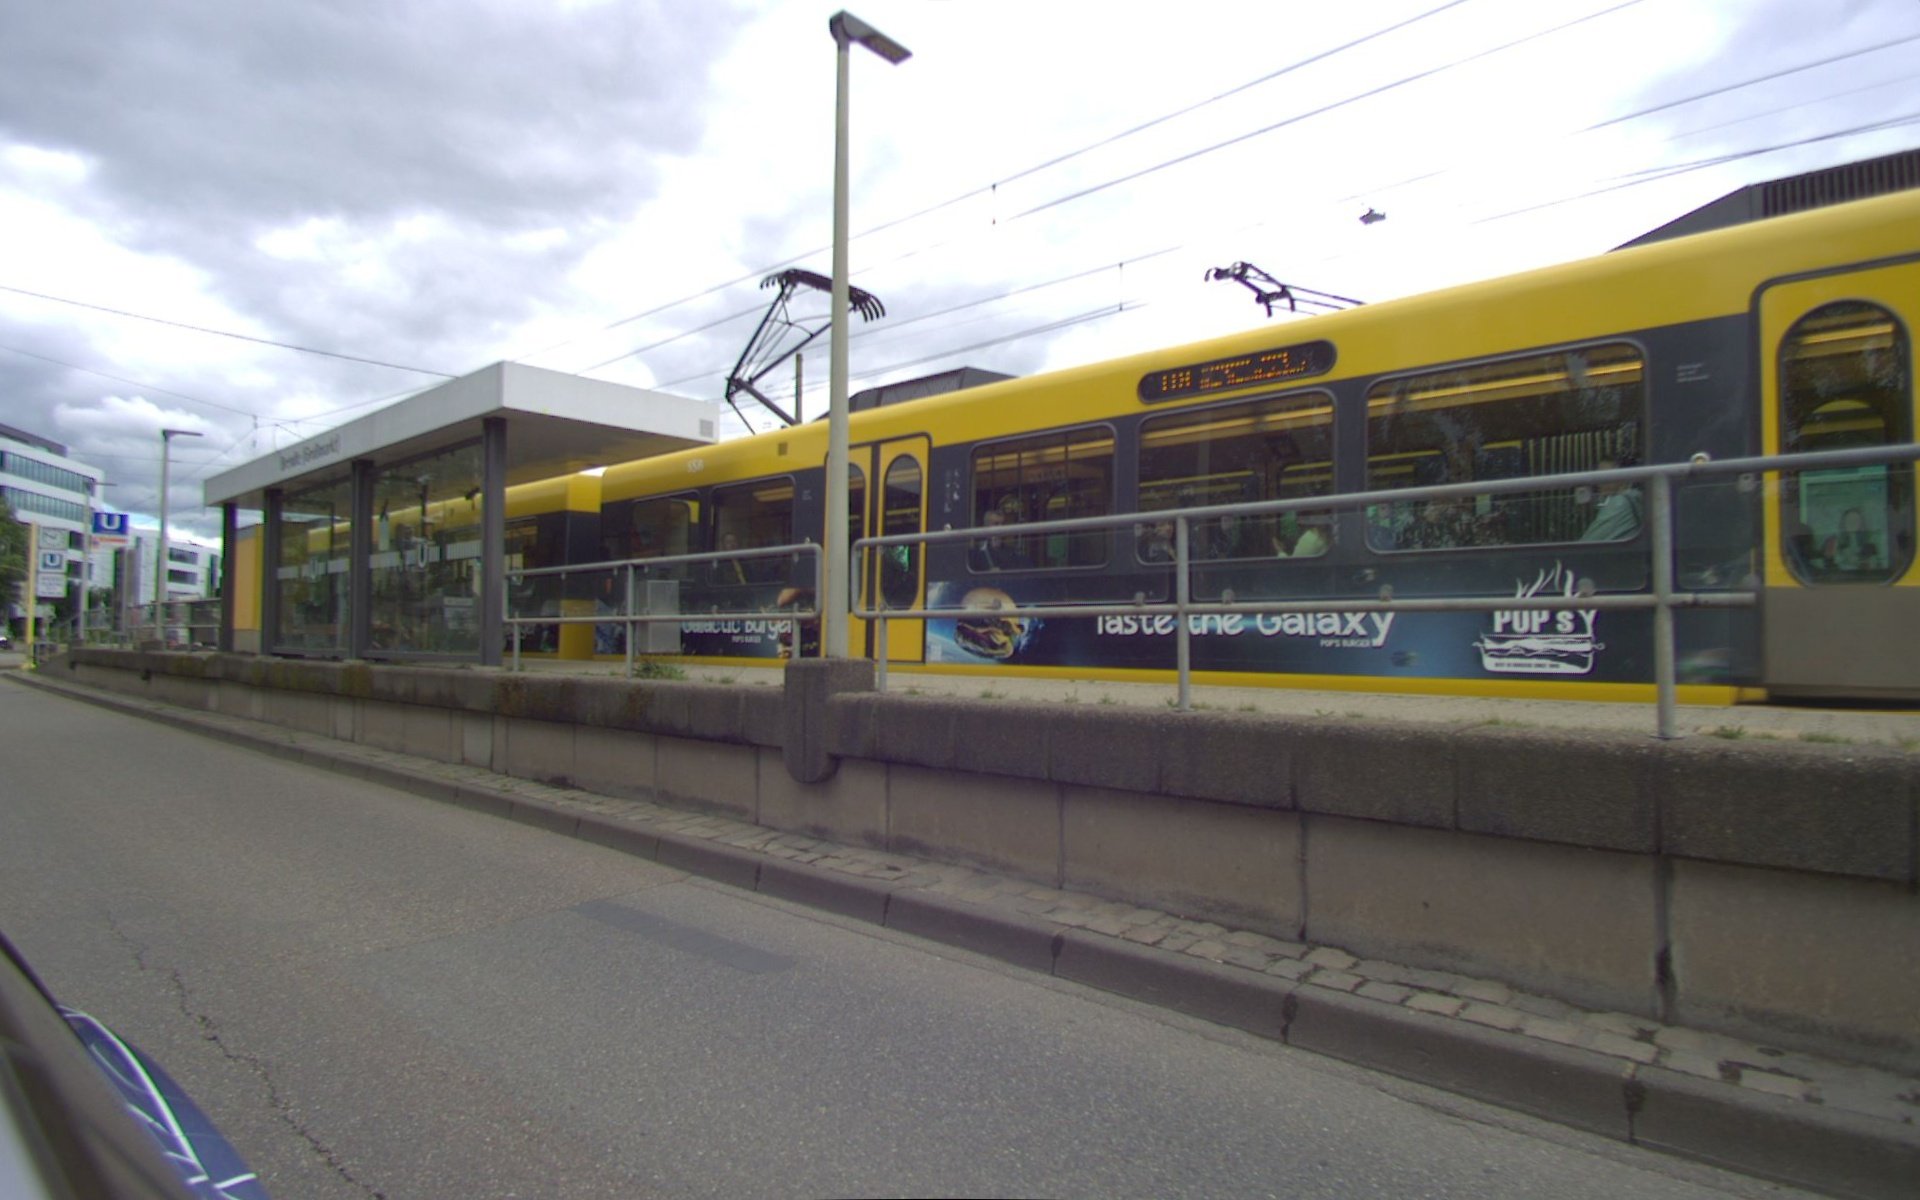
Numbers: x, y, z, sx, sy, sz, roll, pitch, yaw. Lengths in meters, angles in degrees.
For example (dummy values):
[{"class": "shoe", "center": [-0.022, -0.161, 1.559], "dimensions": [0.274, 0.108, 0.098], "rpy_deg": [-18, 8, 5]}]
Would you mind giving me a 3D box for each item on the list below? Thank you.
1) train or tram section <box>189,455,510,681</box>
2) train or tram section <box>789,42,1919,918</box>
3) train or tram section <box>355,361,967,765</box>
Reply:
[{"class": "train or tram section", "center": [-14.219, -0.322, 22.841], "dimensions": [11.905, 3.997, 2.712], "rpy_deg": [-3, -3, 41]}, {"class": "train or tram section", "center": [3.669, -0.452, 7.038], "dimensions": [11.905, 3.997, 2.712], "rpy_deg": [-3, -3, 41]}, {"class": "train or tram section", "center": [-5.285, -0.130, 14.944], "dimensions": [11.905, 3.997, 2.712], "rpy_deg": [-3, -3, 41]}]
